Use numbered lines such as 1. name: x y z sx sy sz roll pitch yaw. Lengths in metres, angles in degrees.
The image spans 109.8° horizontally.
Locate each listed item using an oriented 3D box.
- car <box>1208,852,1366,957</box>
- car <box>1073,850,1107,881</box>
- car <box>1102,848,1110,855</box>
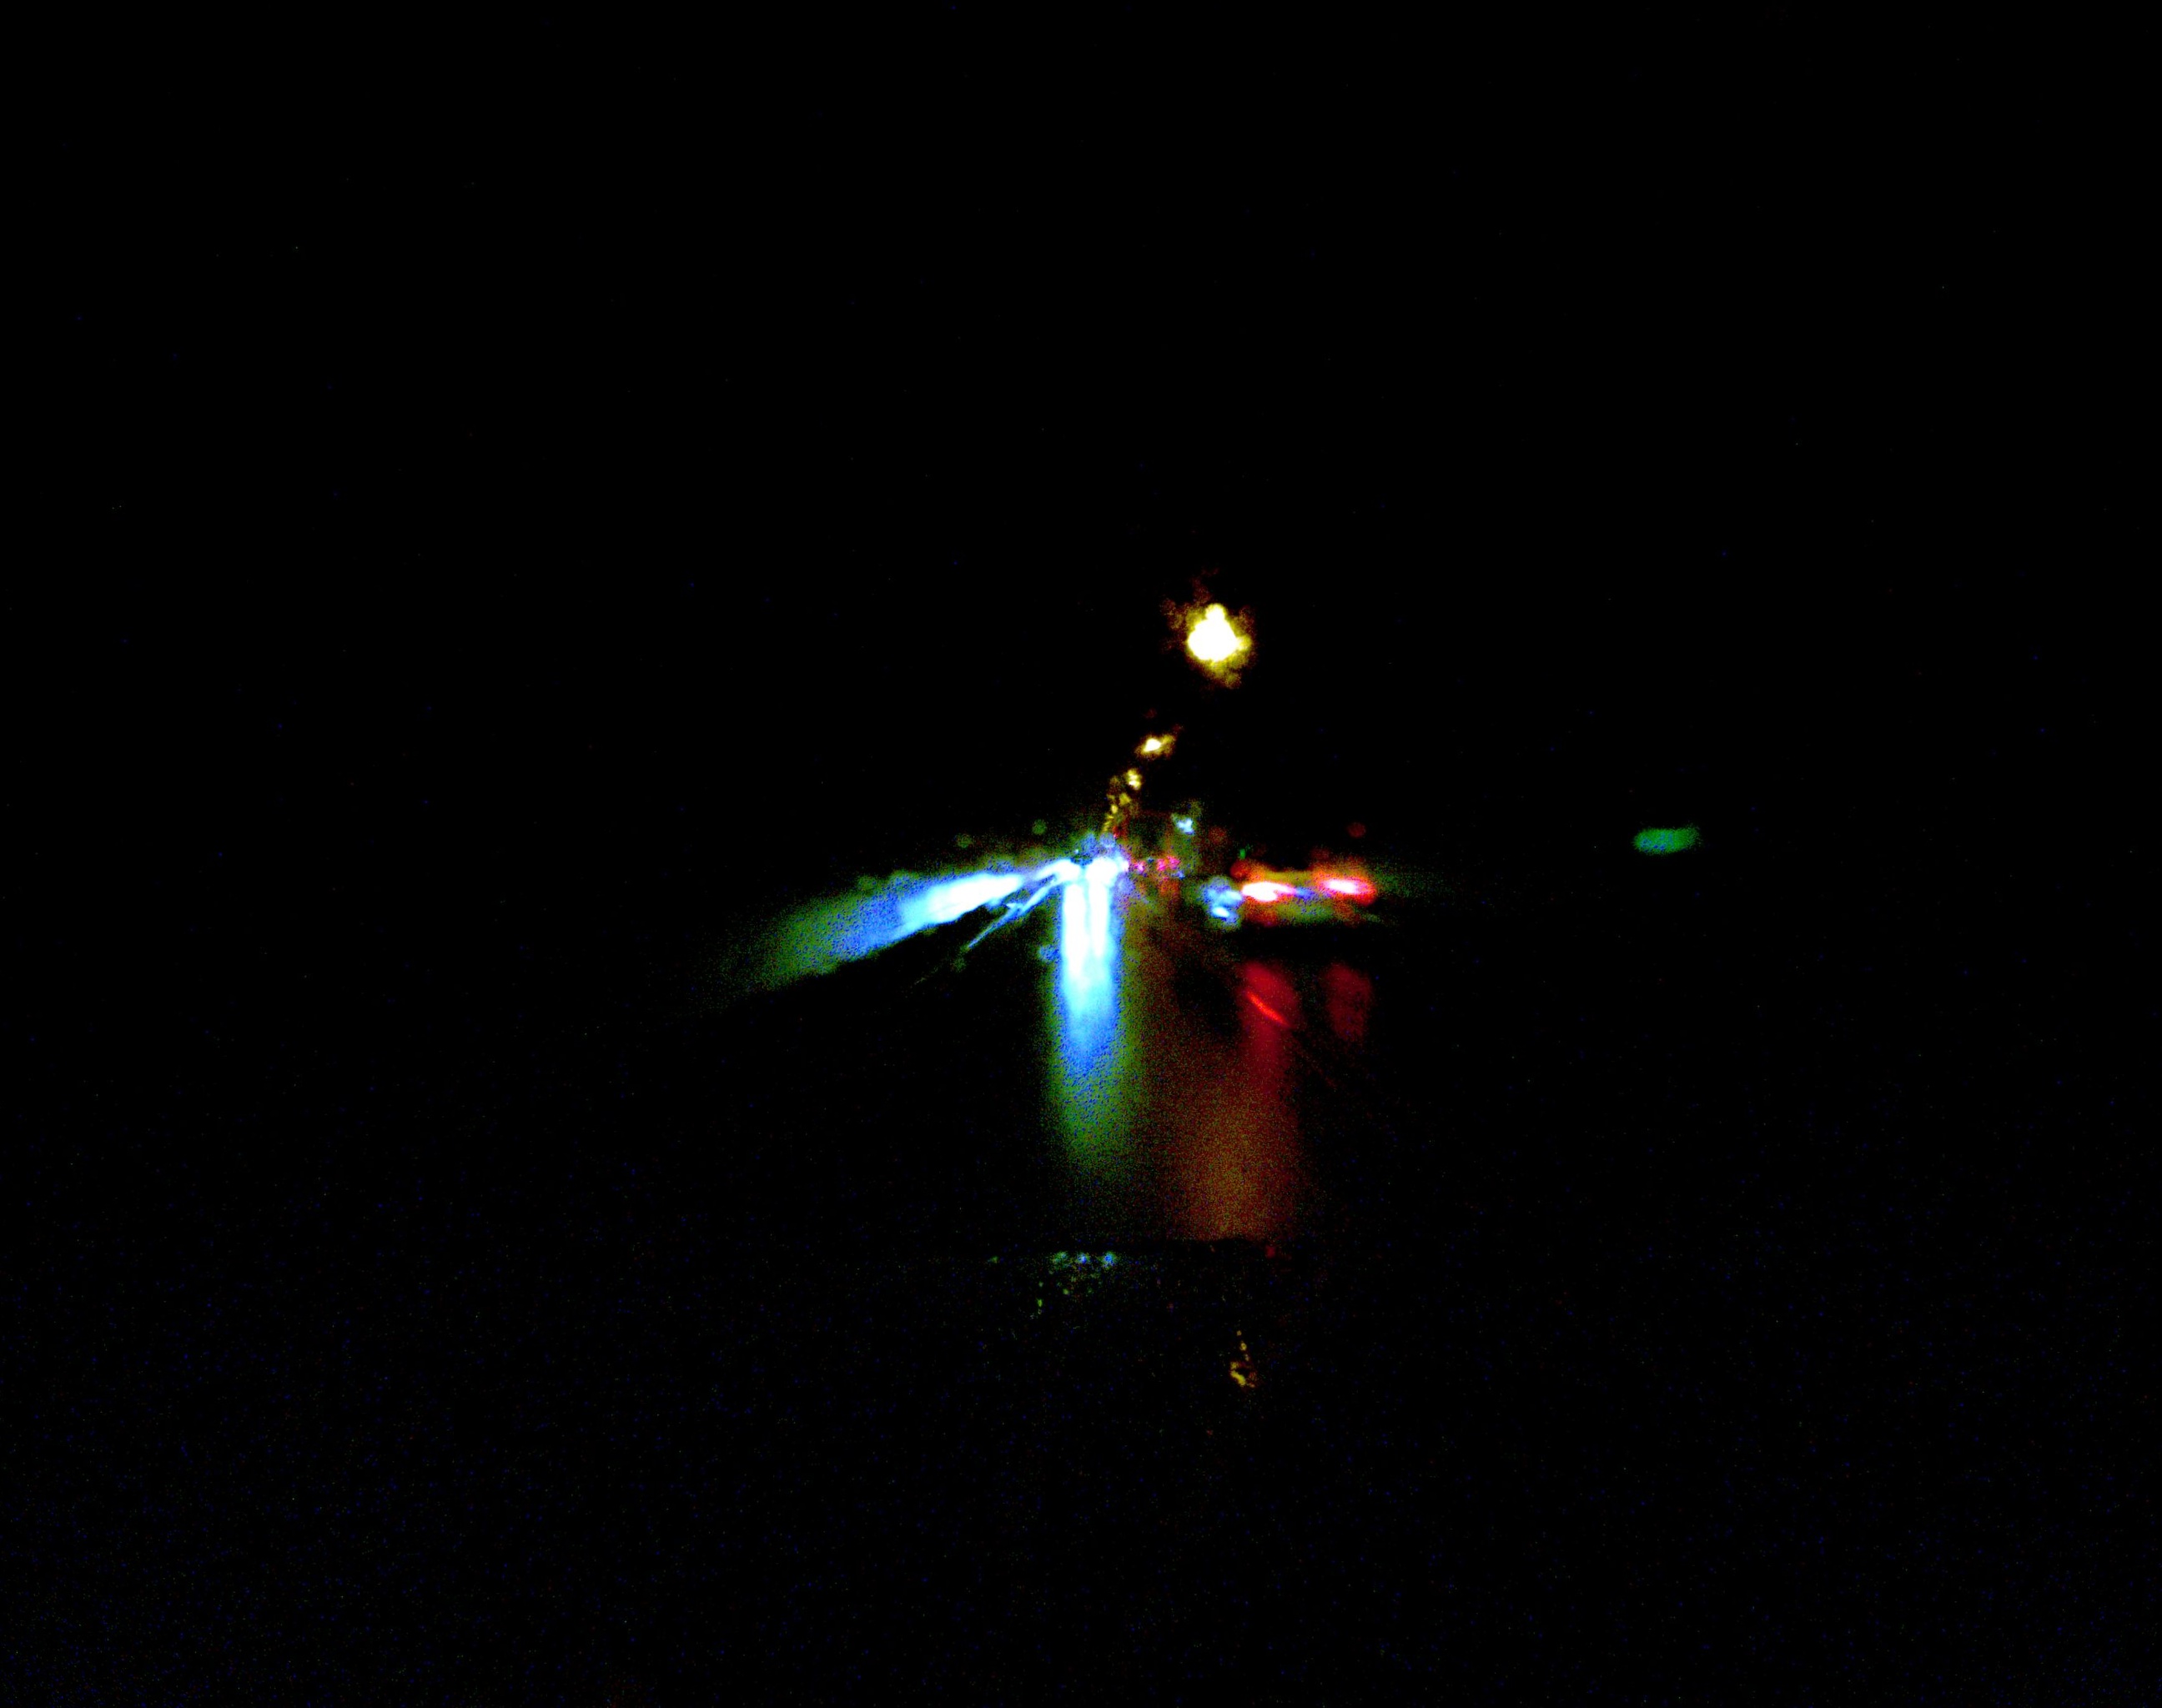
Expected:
1. car: 3.375 0.746 13.214 1.664 1.481 3.963 -2 0 1
2. car: 0.568 0.602 43.749 1.730 1.595 4.000 -3 1 2
3. car: 6.601 -0.677 202.420 1.888 1.595 4.000 -3 1 3
